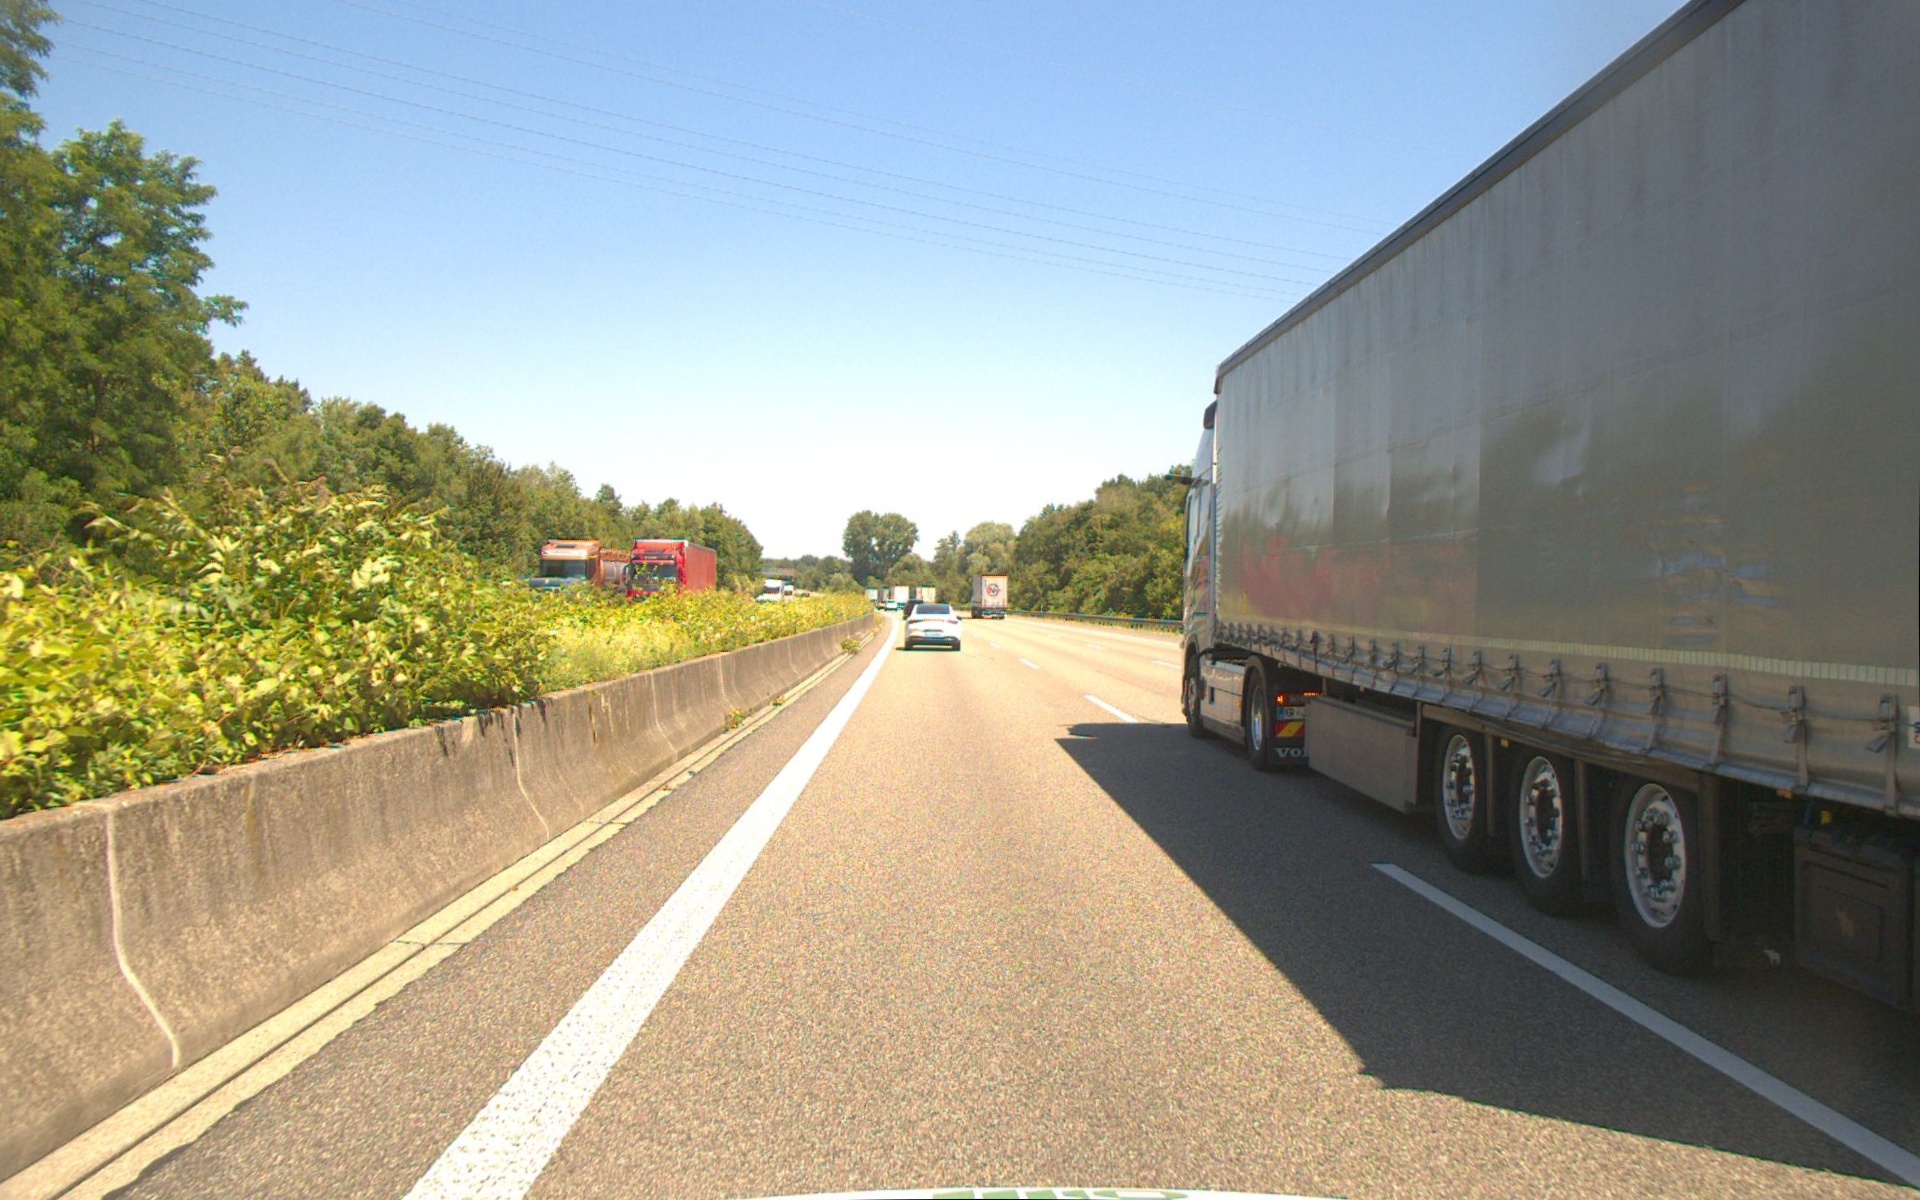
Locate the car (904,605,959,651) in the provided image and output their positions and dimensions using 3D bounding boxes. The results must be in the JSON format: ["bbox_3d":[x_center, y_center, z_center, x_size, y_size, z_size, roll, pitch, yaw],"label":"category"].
[{"bbox_3d":[-0.895,0.883,53.384,1.680,1.393,3.374,1,0,0],"label":"car"}]

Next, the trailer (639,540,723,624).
[{"bbox_3d":[-14.396,-0.839,86.539,2.416,4.004,14.394,1,0,-2],"label":"trailer"}]

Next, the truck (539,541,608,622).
[{"bbox_3d":[-18.059,-0.835,77.471,2.309,3.664,4.162,1,0,-2],"label":"truck"}]

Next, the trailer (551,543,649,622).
[{"bbox_3d":[-18.296,-0.819,84.977,2.324,3.658,14.214,1,0,-2],"label":"trailer"}]

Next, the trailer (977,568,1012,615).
[{"bbox_3d":[3.272,-0.764,161.618,2.571,4.335,14.054,1,0,-2],"label":"trailer"}]

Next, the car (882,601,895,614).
[{"bbox_3d":[-10.471,1.096,242.614,1.690,1.814,3.996,1,0,-4],"label":"car"}]

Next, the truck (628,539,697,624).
[{"bbox_3d":[-14.124,-0.840,78.870,2.416,3.854,5.726,1,0,-3],"label":"truck"}]

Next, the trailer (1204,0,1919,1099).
[{"bbox_3d":[4.158,-0.466,10.937,2.685,4.044,13.650,1,0,-1],"label":"trailer"}]

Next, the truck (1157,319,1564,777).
[{"bbox_3d":[3.982,-0.456,18.055,2.668,4.044,6.499,1,0,-1],"label":"truck"}]

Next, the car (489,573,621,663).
[{"bbox_3d":[-9.111,0.382,37.611,1.836,1.853,5.141,1,0,-2],"label":"car"}]

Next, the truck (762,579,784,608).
[{"bbox_3d":[-26.669,-0.920,236.142,2.607,4.055,6.551,1,0,-2],"label":"truck"}]

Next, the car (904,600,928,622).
[{"bbox_3d":[-3.692,0.921,138.621,1.953,1.803,3.999,1,0,-1],"label":"car"}]

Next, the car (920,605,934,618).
[{"bbox_3d":[-4.307,1.535,216.184,1.689,1.613,3.999,1,0,-2],"label":"car"}]
